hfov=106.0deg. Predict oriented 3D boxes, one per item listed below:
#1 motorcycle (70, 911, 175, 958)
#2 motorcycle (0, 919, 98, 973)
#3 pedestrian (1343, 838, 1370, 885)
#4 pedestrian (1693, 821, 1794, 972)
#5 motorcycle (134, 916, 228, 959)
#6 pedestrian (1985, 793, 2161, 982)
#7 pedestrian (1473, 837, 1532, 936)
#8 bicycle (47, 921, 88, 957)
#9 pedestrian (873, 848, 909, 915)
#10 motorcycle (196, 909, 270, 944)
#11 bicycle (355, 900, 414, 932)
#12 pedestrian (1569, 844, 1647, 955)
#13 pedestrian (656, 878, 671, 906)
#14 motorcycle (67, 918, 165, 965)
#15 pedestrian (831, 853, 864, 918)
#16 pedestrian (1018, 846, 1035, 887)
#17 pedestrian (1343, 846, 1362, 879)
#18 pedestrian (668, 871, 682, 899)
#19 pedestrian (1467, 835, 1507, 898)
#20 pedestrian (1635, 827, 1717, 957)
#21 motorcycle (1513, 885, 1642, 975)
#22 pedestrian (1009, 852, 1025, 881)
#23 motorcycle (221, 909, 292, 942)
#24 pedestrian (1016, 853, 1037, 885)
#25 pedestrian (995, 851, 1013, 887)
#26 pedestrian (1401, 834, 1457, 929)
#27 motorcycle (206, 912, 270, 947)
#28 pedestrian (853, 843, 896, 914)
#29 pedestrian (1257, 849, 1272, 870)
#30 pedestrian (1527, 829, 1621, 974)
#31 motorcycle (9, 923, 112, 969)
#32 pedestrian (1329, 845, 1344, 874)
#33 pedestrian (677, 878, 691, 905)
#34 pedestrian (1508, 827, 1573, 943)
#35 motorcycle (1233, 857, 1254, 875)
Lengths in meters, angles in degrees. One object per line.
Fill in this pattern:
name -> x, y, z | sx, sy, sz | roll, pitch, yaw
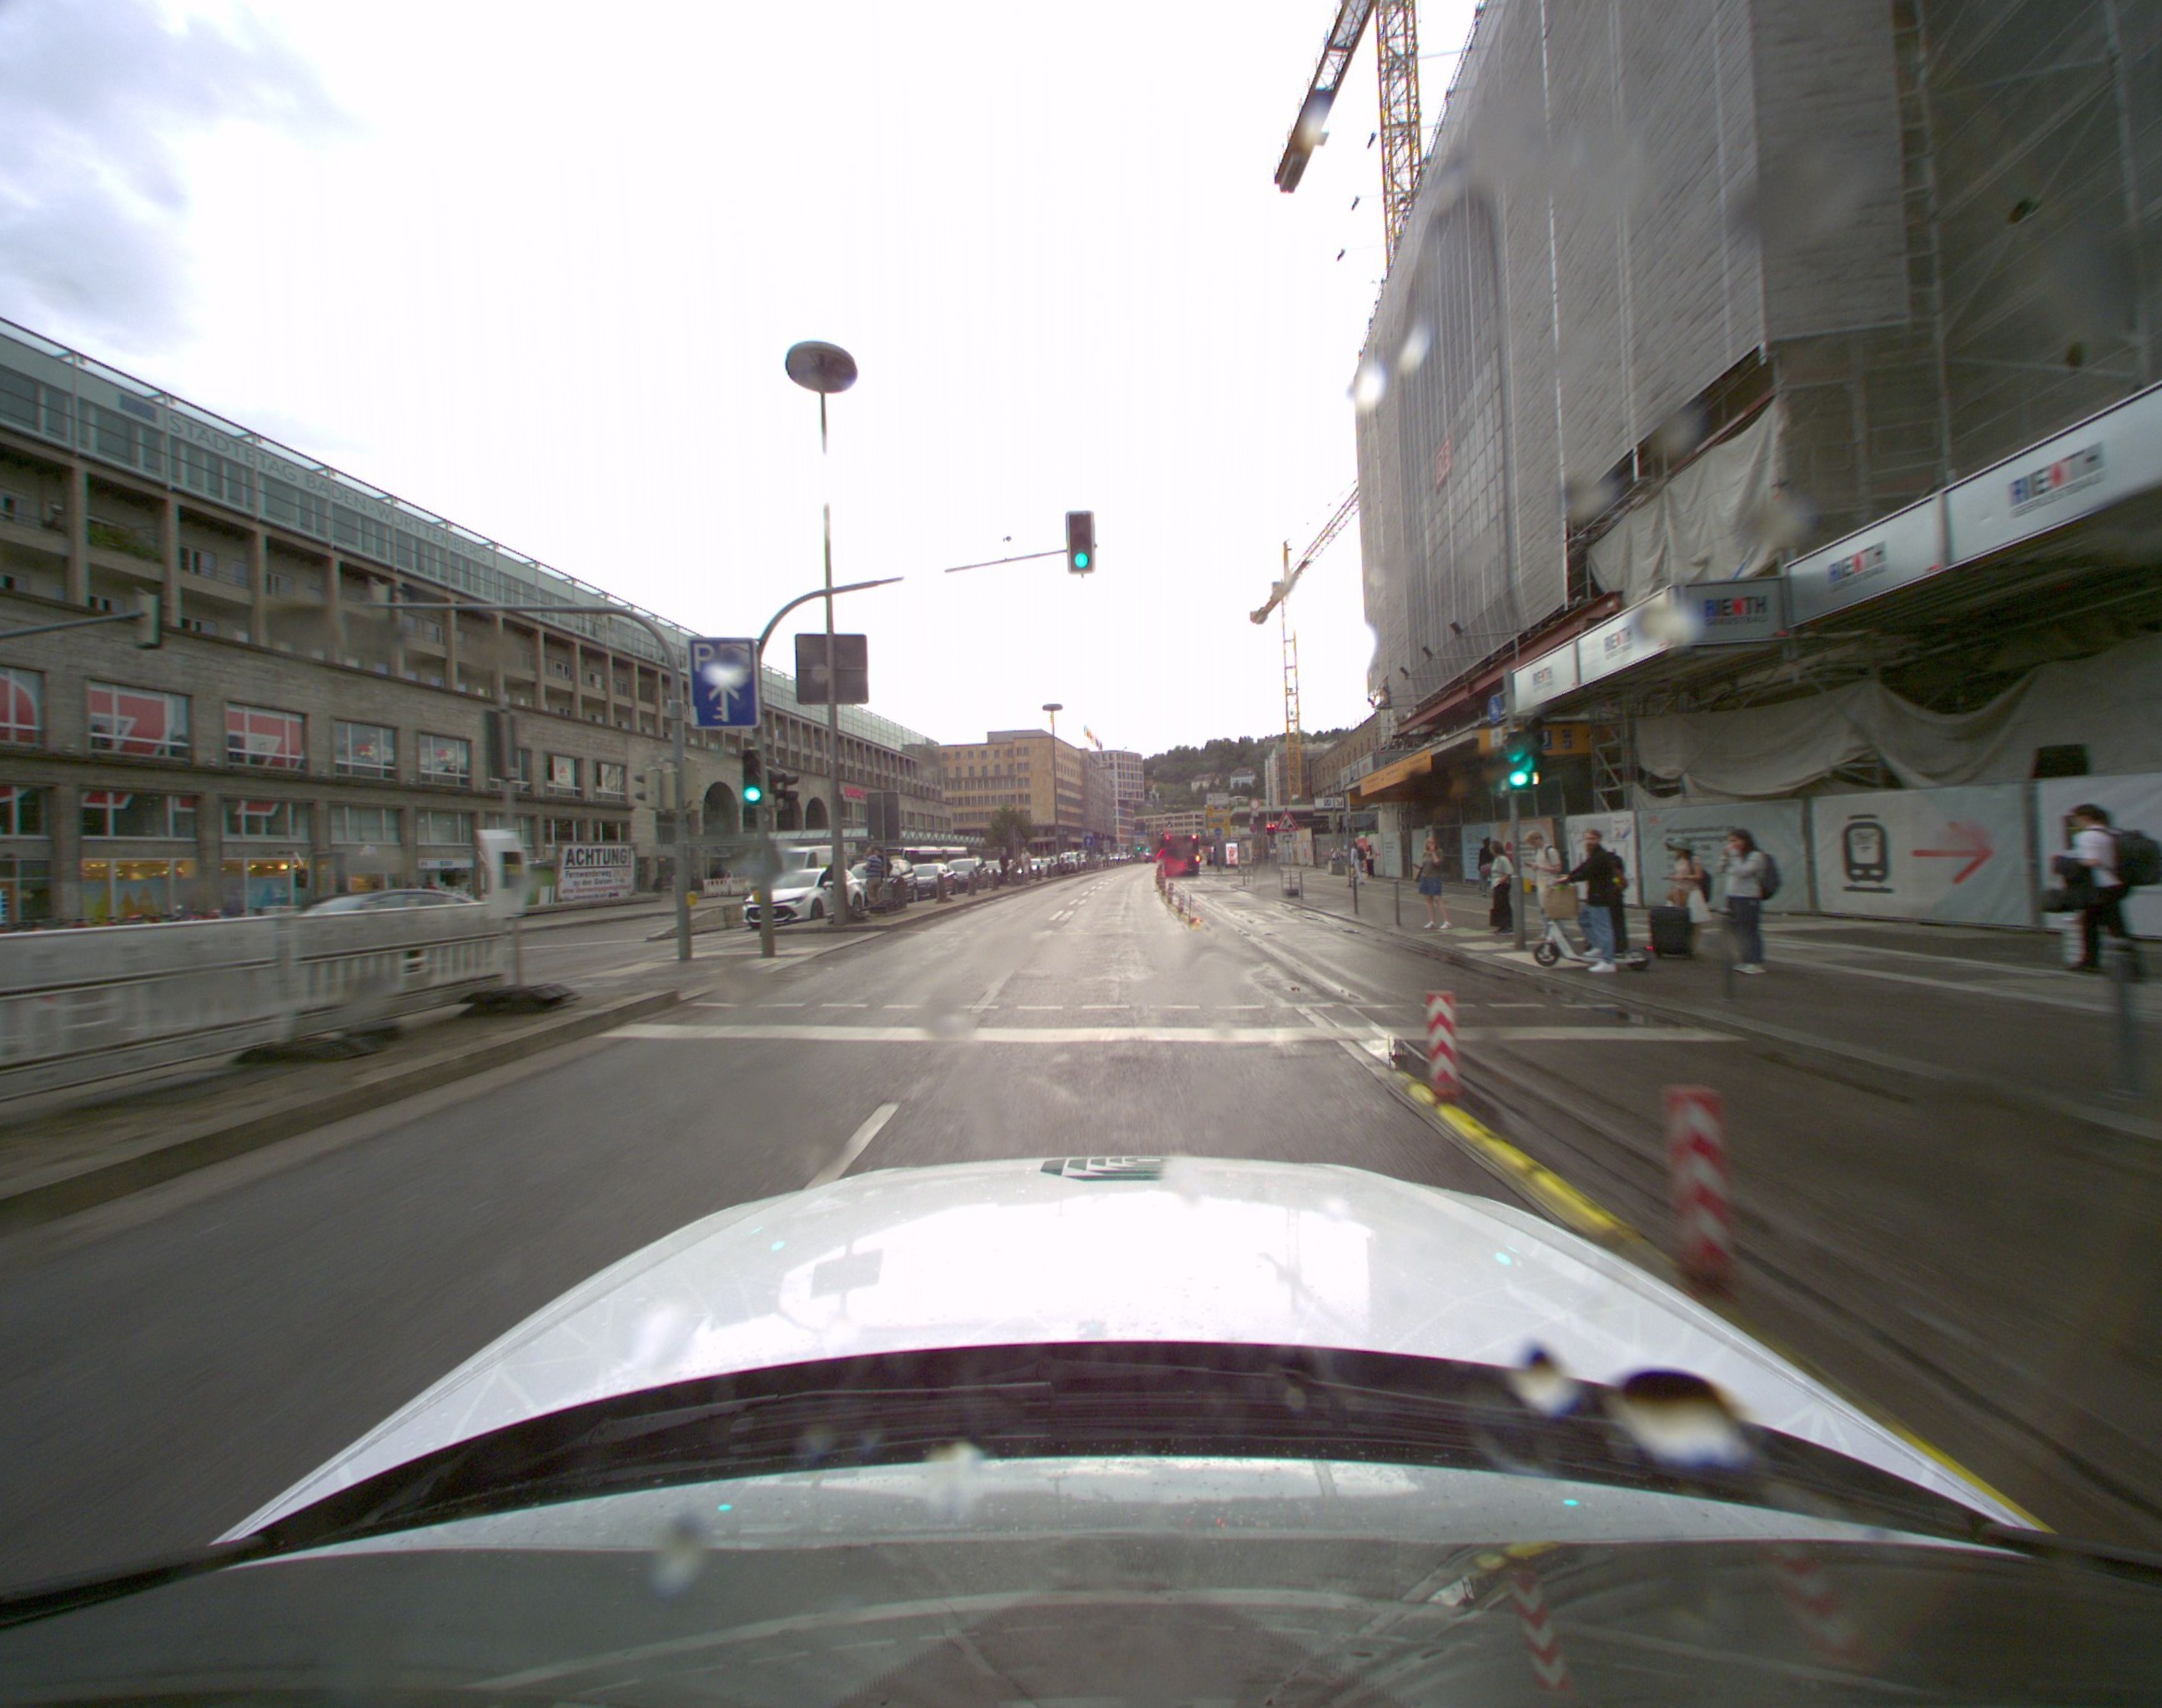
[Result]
motorcycle -> -28.167, 2.351, 23.961 | 1.952, 1.227, 0.693 | -1, 0, -14
motorcycle -> -26.375, 2.310, 20.730 | 0.577, 1.172, 1.629 | -1, 0, 11
pedestrian -> 11.123, 0.292, 32.866 | 0.719, 1.847, 0.811 | -5, 0, 6
pedestrian -> 7.611, 0.473, 9.385 | 0.555, 1.650, 0.616 | -5, 0, 7
motorcycle -> -26.431, 2.440, 23.950 | 0.595, 1.057, 1.826 | -1, 1, 43
pedestrian -> 9.745, 0.305, 7.917 | 0.732, 1.677, 0.959 | -5, 0, 5
pedestrian -> 7.330, 0.543, 14.193 | 0.555, 1.641, 0.753 | -5, 0, 7
bicycle -> -32.322, 2.696, 25.965 | 1.599, 1.057, 0.447 | -1, 0, 26
pedestrian -> -5.318, 0.756, 22.818 | 0.781, 1.775, 0.605 | -5, 0, -6
motorcycle -> -28.290, 2.418, 27.195 | 1.705, 1.057, 0.582 | -1, 0, -7
bicycle -> -31.004, 2.756, 36.266 | 1.923, 1.325, 0.679 | -2, 0, -4
pedestrian -> 7.306, 0.609, 11.311 | 0.555, 1.449, 0.713 | -5, 0, 7
pedestrian -> -30.905, 2.786, 60.296 | 0.573, 2.013, 0.710 | -3, 0, 5
motorcycle -> -25.559, 2.302, 21.608 | 0.473, 1.046, 1.629 | -1, 0, 11
pedestrian -> -6.283, 0.826, 21.918 | 0.648, 1.711, 0.594 | -1, 0, 4
pedestrian -> -2.733, 0.629, 41.060 | 0.719, 2.007, 0.774 | -1, 0, 6
pedestrian -> 12.977, 0.397, 38.959 | 0.648, 1.539, 0.666 | -5, 0, 7
pedestrian -> -30.258, 2.299, 60.681 | 0.573, 2.013, 0.710 | -3, 0, 5
pedestrian -> 11.007, 0.339, 22.119 | 0.546, 1.632, 0.997 | -5, 0, 6
pedestrian -> 7.915, 0.488, 10.852 | 0.560, 1.650, 0.616 | -5, 0, 10
motorcycle -> 6.240, 0.926, 10.275 | 0.589, 1.021, 1.226 | -2, 0, -37
pedestrian -> -3.521, 0.685, 44.998 | 0.719, 1.606, 0.997 | -1, 0, 6
motorcycle -> -28.555, 2.461, 28.229 | 1.705, 1.057, 0.582 | -1, 0, -7
pedestrian -> -3.126, 0.843, 46.451 | 1.045, 1.768, 0.617 | -2, -1, 5
pedestrian -> -3.887, 0.754, 41.128 | 0.695, 1.755, 0.712 | -2, 0, 6
pedestrian -> 6.763, 0.522, 15.845 | 0.557, 1.759, 0.750 | -5, 0, -8
motorcycle -> -28.184, 2.522, 27.237 | 1.436, 1.057, 0.602 | -1, 0, -5
pedestrian -> -5.384, 0.623, 21.261 | 0.552, 1.775, 0.757 | -5, 0, 40
pedestrian -> 14.516, 0.446, 64.317 | 0.897, 1.635, 0.833 | -2, 0, 33
pedestrian -> 6.219, 0.569, 10.288 | 0.584, 1.740, 0.813 | -2, 0, -37
motorcycle -> -27.656, 2.471, 22.103 | 0.577, 1.057, 1.630 | -1, 0, 14
pedestrian -> 16.462, 0.345, 52.483 | 0.641, 1.847, 0.660 | -5, 0, 6
pedestrian -> -30.084, 2.819, 61.772 | 0.573, 2.013, 0.710 | -3, 0, 5
pedestrian -> 7.296, 0.478, 12.957 | 0.555, 1.752, 0.713 | -5, 0, 7
motorcycle -> 11.301, 0.835, 56.685 | 0.579, 1.166, 1.627 | -1, -1, 45
